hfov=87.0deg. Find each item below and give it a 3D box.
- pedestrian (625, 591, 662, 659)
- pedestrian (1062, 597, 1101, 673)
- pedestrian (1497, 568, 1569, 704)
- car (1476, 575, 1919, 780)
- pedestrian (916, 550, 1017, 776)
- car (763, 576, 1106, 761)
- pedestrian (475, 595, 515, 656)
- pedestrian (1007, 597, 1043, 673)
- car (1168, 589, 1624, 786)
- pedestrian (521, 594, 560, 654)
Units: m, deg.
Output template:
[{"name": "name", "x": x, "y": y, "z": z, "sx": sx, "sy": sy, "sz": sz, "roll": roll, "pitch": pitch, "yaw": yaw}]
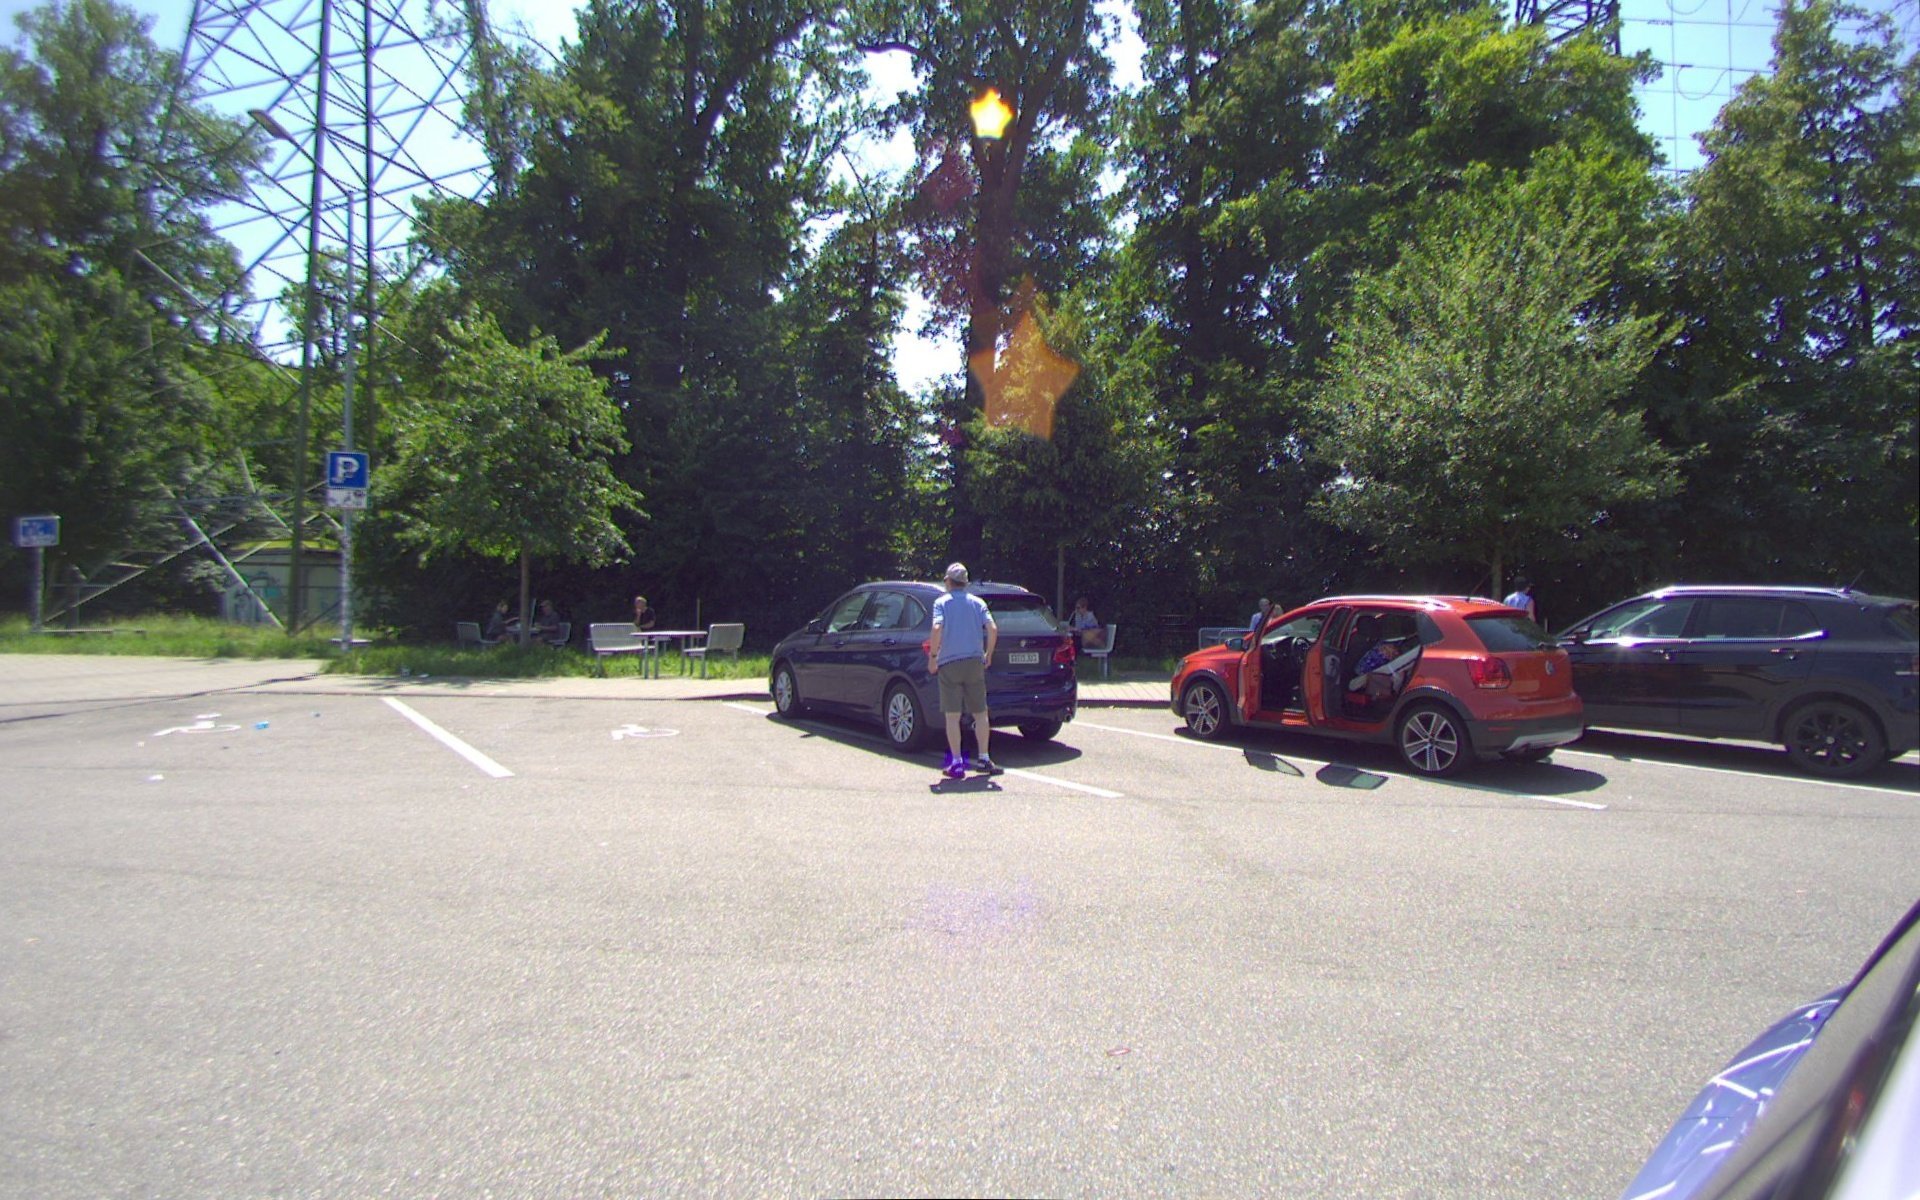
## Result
[{"name": "pedestrian", "x": -6.663, "y": 0.521, "z": 21.319, "sx": 0.553, "sy": 1.408, "sz": 0.700, "roll": 0, "pitch": 0, "yaw": 2}, {"name": "pedestrian", "x": 2.041, "y": 0.580, "z": 17.016, "sx": 0.576, "sy": 1.251, "sz": 0.697, "roll": 0, "pitch": -1, "yaw": 1}, {"name": "pedestrian", "x": 8.103, "y": 0.486, "z": 14.317, "sx": 0.511, "sy": 1.854, "sz": 0.764, "roll": 0, "pitch": 0, "yaw": -41}, {"name": "car", "x": 7.244, "y": 0.595, "z": 9.708, "sx": 1.707, "sy": 1.607, "sz": 3.732, "roll": 1, "pitch": 0, "yaw": -39}, {"name": "pedestrian", "x": 0.037, "y": 0.489, "z": 8.314, "sx": 0.662, "sy": 1.754, "sz": 0.835, "roll": 0, "pitch": 0, "yaw": -11}, {"name": "car", "x": -0.459, "y": 0.557, "z": 10.667, "sx": 1.776, "sy": 1.562, "sz": 3.940, "roll": 1, "pitch": 0, "yaw": -34}, {"name": "pedestrian", "x": -10.492, "y": 0.555, "z": 22.842, "sx": 0.687, "sy": 1.352, "sz": 0.563, "roll": 0, "pitch": 0, "yaw": -40}, {"name": "pedestrian", "x": 1.093, "y": 0.585, "z": 17.082, "sx": 0.576, "sy": 1.251, "sz": 0.697, "roll": 0, "pitch": -1, "yaw": 1}, {"name": "car", "x": 3.879, "y": 0.645, "z": 9.594, "sx": 1.559, "sy": 1.467, "sz": 3.737, "roll": 1, "pitch": 0, "yaw": -33}, {"name": "pedestrian", "x": -9.735, "y": 0.545, "z": 23.480, "sx": 0.687, "sy": 1.352, "sz": 0.563, "roll": 0, "pitch": 0, "yaw": -40}]
